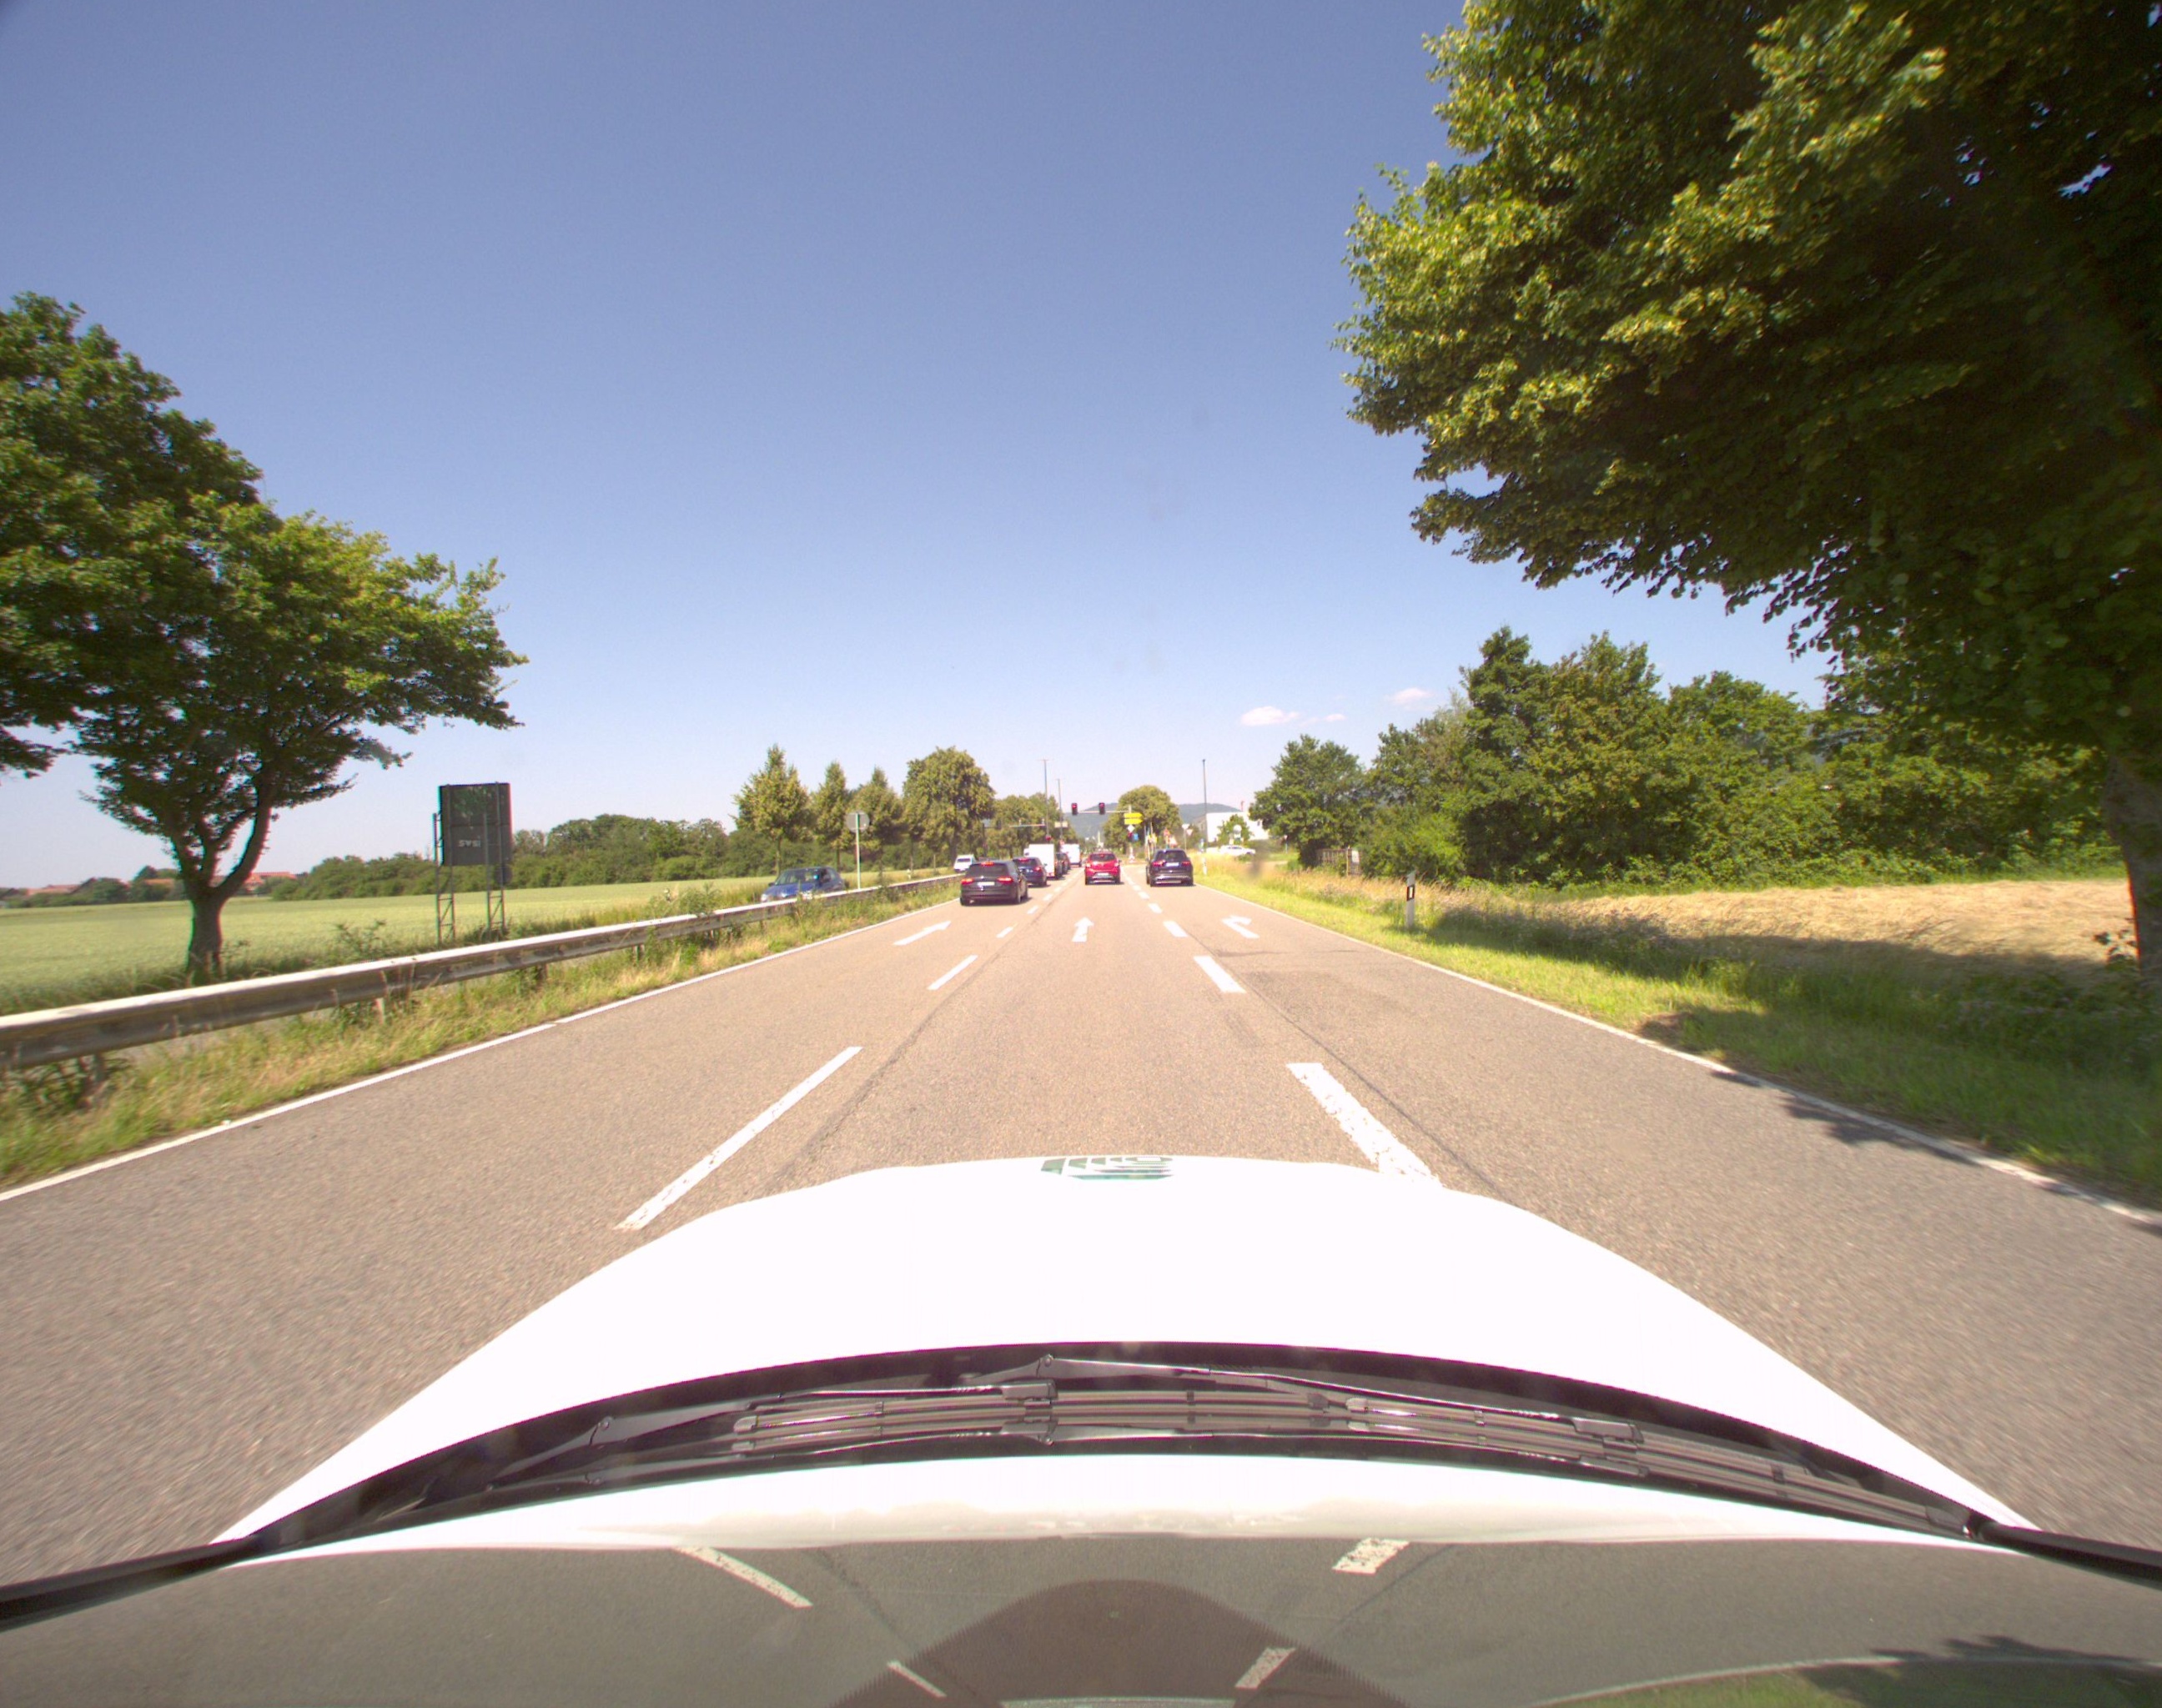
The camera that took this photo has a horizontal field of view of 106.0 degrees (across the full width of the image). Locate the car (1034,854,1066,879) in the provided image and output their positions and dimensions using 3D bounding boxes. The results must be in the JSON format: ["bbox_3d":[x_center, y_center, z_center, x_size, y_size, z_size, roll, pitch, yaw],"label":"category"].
[{"bbox_3d":[-1.970,0.773,52.082,1.739,1.503,4.364,-2,0,1],"label":"car"}]

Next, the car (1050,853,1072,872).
[{"bbox_3d":[-1.752,0.714,72.882,1.717,1.600,3.957,-2,0,2],"label":"car"}]

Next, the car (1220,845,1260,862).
[{"bbox_3d":[19.033,-0.088,97.845,4.471,1.868,1.887,-3,0,3],"label":"car"}]

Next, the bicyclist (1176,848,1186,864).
[{"bbox_3d":[11.400,0.273,92.965,0.801,1.771,0.806,-3,0,-8],"label":"bicyclist"}]

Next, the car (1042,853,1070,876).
[{"bbox_3d":[-1.803,0.715,59.247,1.716,1.575,3.894,-2,0,2],"label":"car"}]

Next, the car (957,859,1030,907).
[{"bbox_3d":[-2.743,0.872,26.547,1.734,1.380,4.457,-2,0,2],"label":"car"}]

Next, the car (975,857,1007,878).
[{"bbox_3d":[-7.427,1.107,67.726,1.987,1.603,4.481,-3,0,1],"label":"car"}]

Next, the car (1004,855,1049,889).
[{"bbox_3d":[-2.531,0.785,38.370,1.711,1.465,4.031,-1,0,1],"label":"car"}]

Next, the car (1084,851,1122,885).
[{"bbox_3d":[1.134,0.657,39.905,1.742,1.575,3.679,-1,0,3],"label":"car"}]

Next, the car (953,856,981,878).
[{"bbox_3d":[-11.397,1.271,81.863,1.986,1.951,4.831,-3,0,1],"label":"car"}]

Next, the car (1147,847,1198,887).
[{"bbox_3d":[4.005,0.544,36.302,1.985,1.616,4.343,-1,0,3],"label":"car"}]

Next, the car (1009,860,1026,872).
[{"bbox_3d":[-8.613,1.627,110.880,1.872,1.454,4.505,-3,0,1],"label":"car"}]

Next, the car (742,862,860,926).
[{"bbox_3d":[-8.588,1.159,25.436,1.987,1.662,4.481,-3,0,1],"label":"car"}]

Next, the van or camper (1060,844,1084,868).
[{"bbox_3d":[-0.897,0.228,83.501,2.171,2.302,4.829,-3,0,2],"label":"van or camper"}]

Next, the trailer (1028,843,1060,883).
[{"bbox_3d":[-2.130,0.483,47.884,1.495,2.173,4.175,-3,0,1],"label":"trailer"}]
